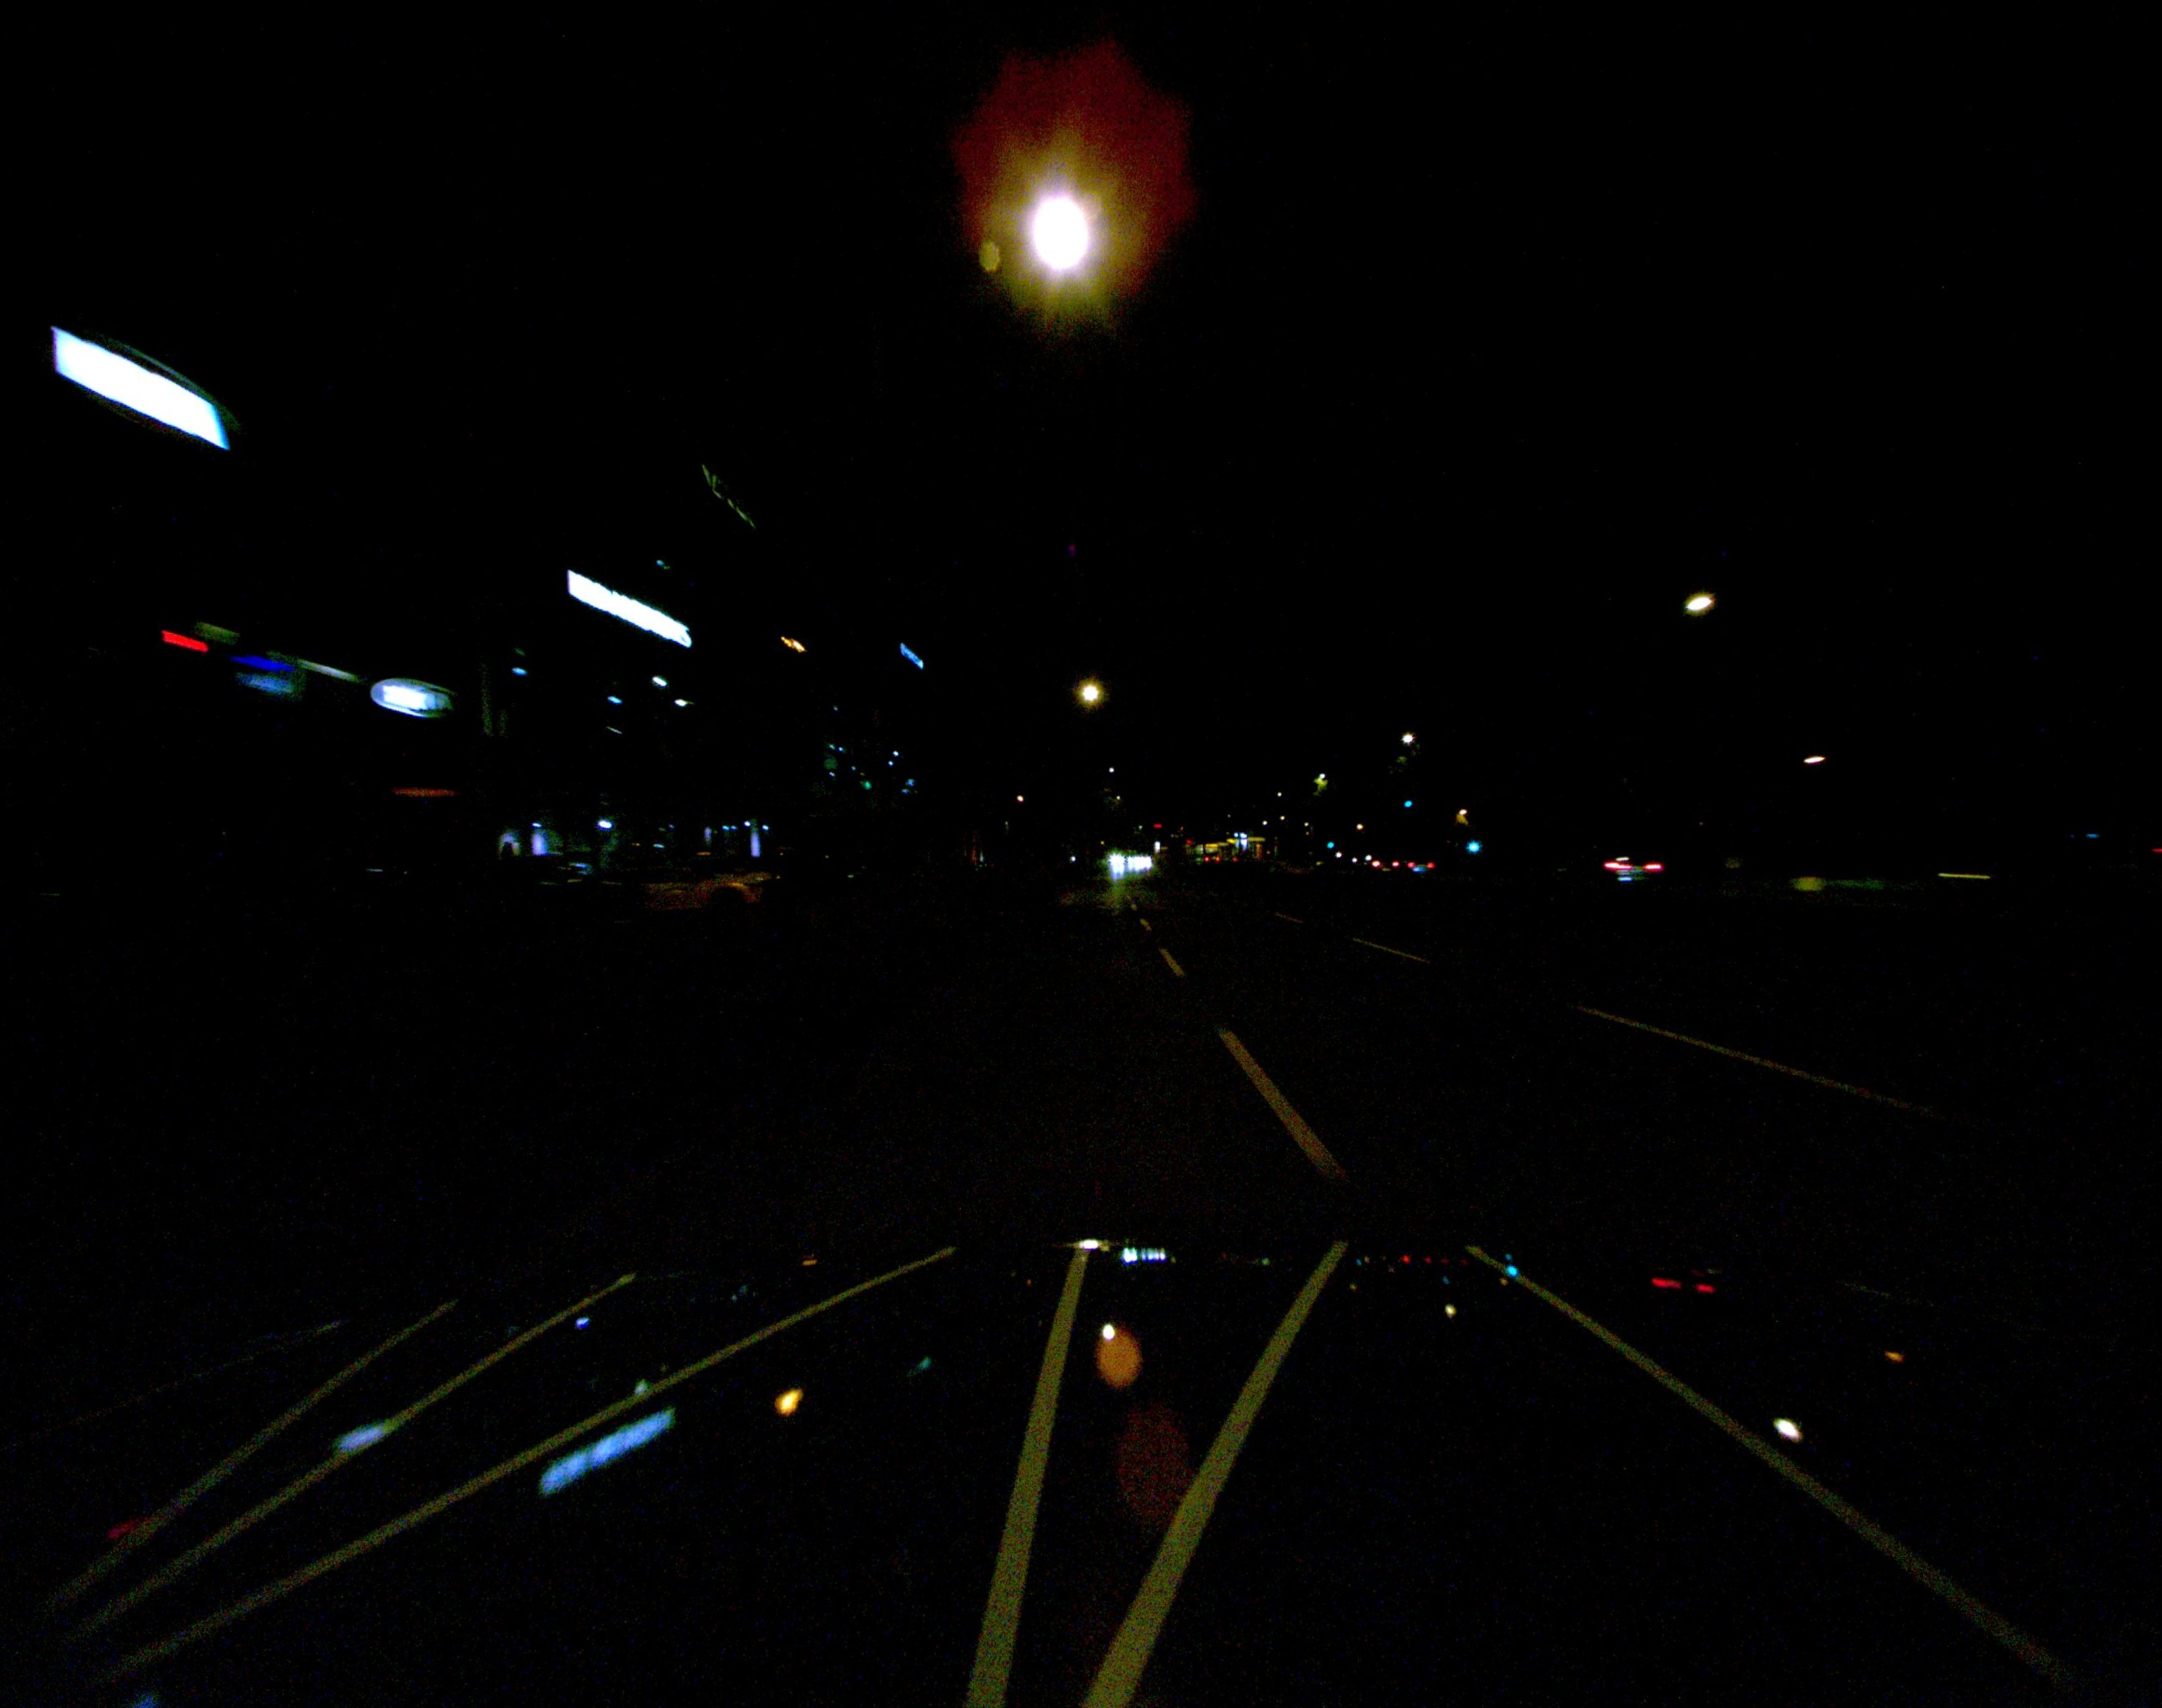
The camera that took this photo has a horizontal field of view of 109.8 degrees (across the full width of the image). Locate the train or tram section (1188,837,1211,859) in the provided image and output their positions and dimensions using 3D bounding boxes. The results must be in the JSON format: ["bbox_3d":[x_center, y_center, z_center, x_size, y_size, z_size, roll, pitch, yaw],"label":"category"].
[{"bbox_3d":[21.681,-1.117,140.054,2.744,3.824,19.368,-2,0,5],"label":"train or tram section"}]

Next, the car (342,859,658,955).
[{"bbox_3d":[-10.378,0.887,13.923,4.136,1.412,1.875,-2,1,-11],"label":"car"}]

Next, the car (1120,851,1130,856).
[{"bbox_3d":[10.551,-0.152,182.880,1.946,1.299,3.908,1,1,10],"label":"car"}]

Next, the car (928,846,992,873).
[{"bbox_3d":[-8.722,0.387,54.895,4.474,1.799,1.999,1,0,-8],"label":"car"}]

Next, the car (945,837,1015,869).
[{"bbox_3d":[-9.320,-0.056,69.811,6.040,2.514,2.281,4,0,-14],"label":"car"}]

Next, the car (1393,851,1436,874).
[{"bbox_3d":[24.392,0.598,55.684,1.664,1.508,3.911,-2,1,5],"label":"car"}]

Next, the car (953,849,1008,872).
[{"bbox_3d":[-7.917,0.483,59.961,4.215,1.653,1.959,1,0,-8],"label":"car"}]

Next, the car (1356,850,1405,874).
[{"bbox_3d":[21.073,0.541,53.690,1.789,1.489,4.173,-2,2,0],"label":"car"}]

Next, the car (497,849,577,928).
[{"bbox_3d":[-14.957,0.838,20.830,1.591,1.786,3.858,-2,4,-37],"label":"car"}]

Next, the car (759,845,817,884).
[{"bbox_3d":[-15.641,0.512,40.396,1.838,1.907,4.815,-2,1,-33],"label":"car"}]

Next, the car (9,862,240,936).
[{"bbox_3d":[-23.103,1.046,18.442,3.486,1.577,1.748,1,3,4],"label":"car"}]

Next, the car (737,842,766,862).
[{"bbox_3d":[-29.449,-0.227,68.034,2.002,1.652,4.659,-2,1,-19],"label":"car"}]

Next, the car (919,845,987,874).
[{"bbox_3d":[-8.734,0.386,52.145,4.475,1.677,1.999,3,0,-8],"label":"car"}]

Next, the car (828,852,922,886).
[{"bbox_3d":[-9.511,0.694,35.335,4.038,1.365,1.823,3,0,-13],"label":"car"}]

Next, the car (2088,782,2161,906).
[{"bbox_3d":[24.064,-0.150,13.913,2.150,2.656,6.963,1,1,4],"label":"car"}]

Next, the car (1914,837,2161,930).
[{"bbox_3d":[17.590,0.440,13.155,1.624,1.431,4.338,0,1,2],"label":"car"}]

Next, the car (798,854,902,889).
[{"bbox_3d":[-9.797,0.728,32.511,4.000,1.373,1.807,1,0,-8],"label":"car"}]

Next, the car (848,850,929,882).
[{"bbox_3d":[-9.566,0.603,38.040,3.780,1.371,1.715,3,0,-10],"label":"car"}]

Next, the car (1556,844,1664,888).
[{"bbox_3d":[22.087,0.438,31.939,1.783,1.704,4.227,-2,1,3],"label":"car"}]

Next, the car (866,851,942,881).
[{"bbox_3d":[-9.394,0.630,40.570,3.815,1.444,1.716,2,0,-11],"label":"car"}]

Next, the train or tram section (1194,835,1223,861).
[{"bbox_3d":[20.188,-0.982,121.095,2.764,3.805,18.675,-2,0,4],"label":"train or tram section"}]

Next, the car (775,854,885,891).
[{"bbox_3d":[-9.848,0.713,29.935,4.004,1.383,1.823,1,-1,-19],"label":"car"}]

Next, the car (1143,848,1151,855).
[{"bbox_3d":[16.050,-0.530,184.102,1.907,1.609,3.719,-2,1,5],"label":"car"}]

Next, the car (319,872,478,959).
[{"bbox_3d":[-14.969,1.250,16.936,1.781,1.401,4.327,-2,3,-31],"label":"car"}]

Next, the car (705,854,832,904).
[{"bbox_3d":[-10.009,0.757,24.551,3.616,1.425,1.677,-2,1,-20],"label":"car"}]

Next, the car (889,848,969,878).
[{"bbox_3d":[-9.133,0.539,45.950,4.474,1.539,1.768,3,1,-6],"label":"car"}]

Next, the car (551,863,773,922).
[{"bbox_3d":[-10.283,0.909,19.121,4.649,1.257,1.944,-1,0,-22],"label":"car"}]

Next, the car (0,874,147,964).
[{"bbox_3d":[-21.076,1.280,14.760,1.637,1.505,3.413,0,3,-3],"label":"car"}]

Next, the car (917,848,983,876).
[{"bbox_3d":[-8.434,0.507,49.201,4.093,1.559,1.853,3,0,-8],"label":"car"}]

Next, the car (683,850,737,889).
[{"bbox_3d":[-14.873,0.586,30.357,1.628,1.456,3.786,-1,0,-30],"label":"car"}]

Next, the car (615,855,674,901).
[{"bbox_3d":[-15.045,0.793,26.136,1.323,1.478,3.065,-2,0,-38],"label":"car"}]

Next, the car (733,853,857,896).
[{"bbox_3d":[-10.094,0.734,27.163,4.003,1.461,1.830,1,0,-16],"label":"car"}]

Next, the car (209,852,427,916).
[{"bbox_3d":[-22.729,0.819,22.901,4.328,1.645,1.653,-2,1,-34],"label":"car"}]

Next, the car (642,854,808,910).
[{"bbox_3d":[-10.076,0.772,21.845,4.002,1.415,1.907,-1,0,-14],"label":"car"}]
